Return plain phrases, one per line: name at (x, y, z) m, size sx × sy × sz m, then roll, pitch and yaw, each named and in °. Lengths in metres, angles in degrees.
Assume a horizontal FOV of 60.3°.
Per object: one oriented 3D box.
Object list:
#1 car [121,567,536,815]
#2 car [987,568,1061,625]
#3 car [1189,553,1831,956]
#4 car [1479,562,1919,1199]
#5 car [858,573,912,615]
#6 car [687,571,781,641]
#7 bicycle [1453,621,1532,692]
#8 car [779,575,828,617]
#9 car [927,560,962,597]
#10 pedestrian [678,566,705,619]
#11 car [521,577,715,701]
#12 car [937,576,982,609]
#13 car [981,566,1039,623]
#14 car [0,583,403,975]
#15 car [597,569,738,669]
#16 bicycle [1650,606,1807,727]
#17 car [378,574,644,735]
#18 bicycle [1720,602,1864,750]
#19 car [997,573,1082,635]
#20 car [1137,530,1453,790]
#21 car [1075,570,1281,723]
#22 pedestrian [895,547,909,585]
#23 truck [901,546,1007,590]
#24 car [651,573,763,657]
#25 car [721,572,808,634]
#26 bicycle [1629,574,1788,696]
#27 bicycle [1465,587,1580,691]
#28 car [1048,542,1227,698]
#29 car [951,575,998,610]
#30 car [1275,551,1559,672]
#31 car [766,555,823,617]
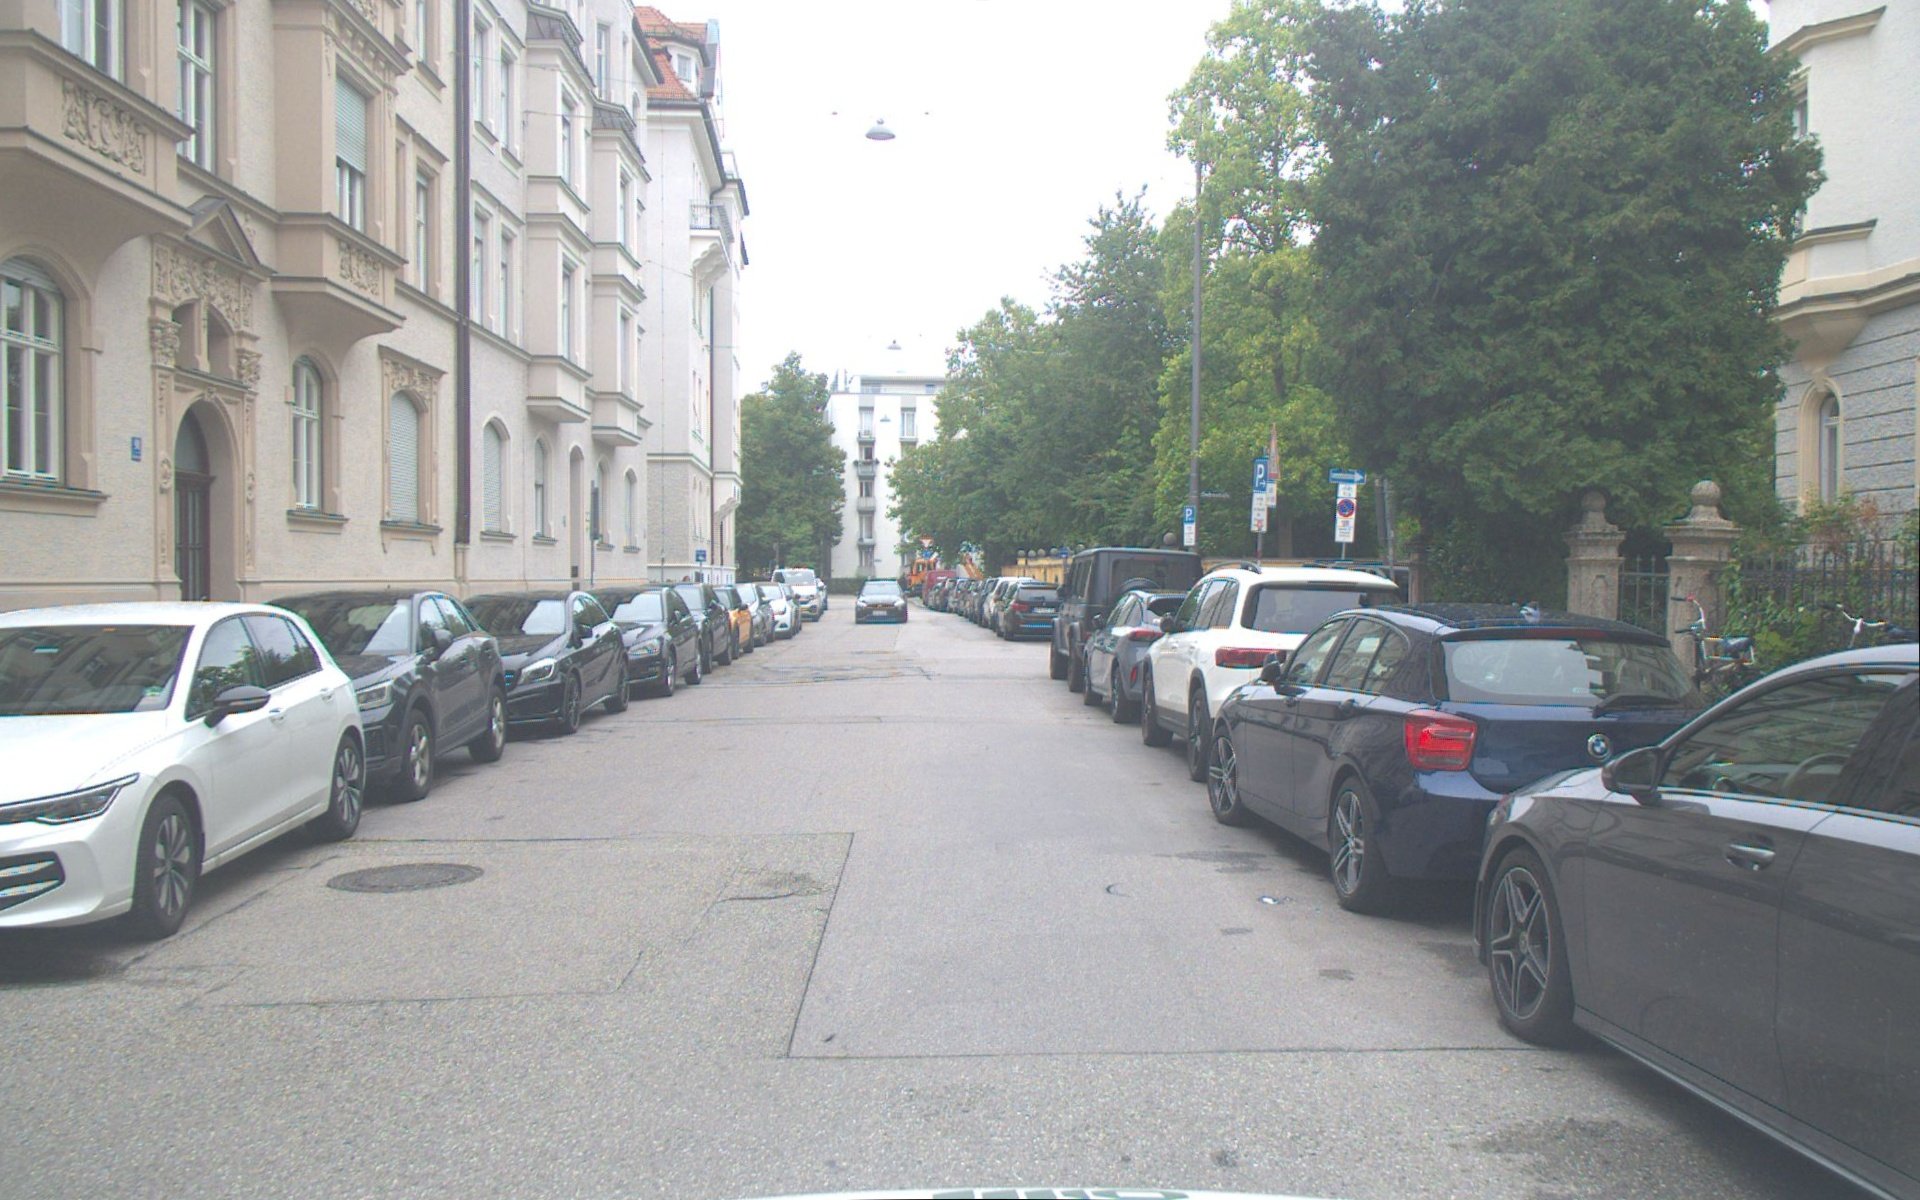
car at (-4.724, 0.556, 13.111) m, size 1.735 × 1.544 × 4.383 m, roll -3°, pitch 1°, yaw -3°
car at (1.790, -0.102, 47.172) m, size 1.620 × 1.545 × 3.791 m, roll 1°, pitch 0°, yaw -5°
car at (2.602, 0.598, 9.074) m, size 1.716 × 1.638 × 4.420 m, roll 2°, pitch 1°, yaw -5°
car at (2.870, 0.690, 4.141) m, size 1.650 × 1.530 × 4.015 m, roll 1°, pitch 1°, yaw -4°
car at (-2.700, -0.230, 58.802) m, size 1.837 × 1.453 × 4.406 m, roll 0°, pitch 1°, yaw -4°
car at (-5.302, 0.117, 39.244) m, size 1.691 × 1.526 × 3.930 m, roll -1°, pitch 0°, yaw -1°
bicycle at (6.358, 0.661, 19.812) m, size 0.502 × 0.795 × 1.354 m, roll 0°, pitch 1°, yaw 0°
car at (-7.030, -0.202, 74.530) m, size 1.975 × 1.756 × 4.272 m, roll -3°, pitch 1°, yaw -3°
car at (-0.831, -1.217, 92.385) m, size 1.799 × 1.960 × 4.005 m, roll 3°, pitch 1°, yaw 1°
pedestrian at (-8.671, -0.256, 53.378) m, size 0.776 × 1.708 × 0.700 m, roll 0°, pitch 1°, yaw -4°
car at (-4.650, 0.462, 23.091) m, size 1.799 × 1.460 × 4.244 m, roll -3°, pitch 1°, yaw -1°
car at (-0.045, -0.357, 80.559) m, size 1.802 × 1.545 × 3.944 m, roll 1°, pitch 0°, yaw -5°
car at (1.537, -0.187, 51.895) m, size 1.484 × 1.690 × 3.671 m, roll 1°, pitch 0°, yaw -4°
car at (-4.397, 0.689, 8.441) m, size 1.800 × 1.459 × 4.242 m, roll -2°, pitch 1°, yaw -3°
car at (-4.948, 0.267, 28.479) m, size 1.717 × 1.525 × 4.018 m, roll -2°, pitch 1°, yaw -1°
bicycle at (7.268, 0.624, 15.662) m, size 1.283 × 1.118 × 0.455 m, roll 0°, pitch 0°, yaw -3°
car at (-4.716, 0.483, 18.070) m, size 1.797 × 1.459 × 4.552 m, roll -2°, pitch 1°, yaw -2°
bicycle at (6.655, 0.580, 13.286) m, size 0.445 × 1.118 × 1.313 m, roll 0°, pitch 0°, yaw -3°
car at (1.959, 0.089, 41.877) m, size 1.801 × 1.438 × 4.341 m, roll 1°, pitch 0°, yaw -1°
car at (2.652, 0.423, 14.127) m, size 1.688 × 1.800 × 4.412 m, roll 3°, pitch 0°, yaw -1°
car at (2.430, 0.483, 19.257) m, size 1.688 × 1.545 × 3.628 m, roll 3°, pitch 0°, yaw -3°
pedestrian at (-3.617, -2.121, 103.517) m, size 0.824 × 2.325 × 0.843 m, roll 0°, pitch 0°, yaw 1°
truck at (-0.476, -2.417, 124.547) m, size 7.542 × 3.297 × 2.888 m, roll 0°, pitch 1°, yaw -15°
car at (-5.076, 0.253, 33.676) m, size 1.607 × 1.525 × 3.972 m, roll -3°, pitch 1°, yaw 0°
car at (-5.171, 0.034, 44.141) m, size 1.799 × 1.463 × 4.274 m, roll -3°, pitch 1°, yaw -1°
bicycle at (7.879, 0.361, 17.430) m, size 1.458 × 1.219 × 0.489 m, roll 2°, pitch 0°, yaw -7°
bicycle at (6.303, 0.414, 18.587) m, size 0.505 × 1.114 × 1.347 m, roll 0°, pitch 1°, yaw -19°
car at (2.439, 0.196, 23.952) m, size 1.911 × 1.988 × 4.665 m, roll 1°, pitch 2°, yaw -2°
car at (0.636, -0.355, 76.412) m, size 1.802 × 1.545 × 3.944 m, roll 1°, pitch 0°, yaw -5°
car at (7.984, 0.161, 29.077) m, size 4.444 × 1.984 × 1.901 m, roll -1°, pitch 2°, yaw -8°
car at (-6.235, -0.548, 62.614) m, size 1.849 × 2.164 × 4.704 m, roll -3°, pitch 1°, yaw -3°
